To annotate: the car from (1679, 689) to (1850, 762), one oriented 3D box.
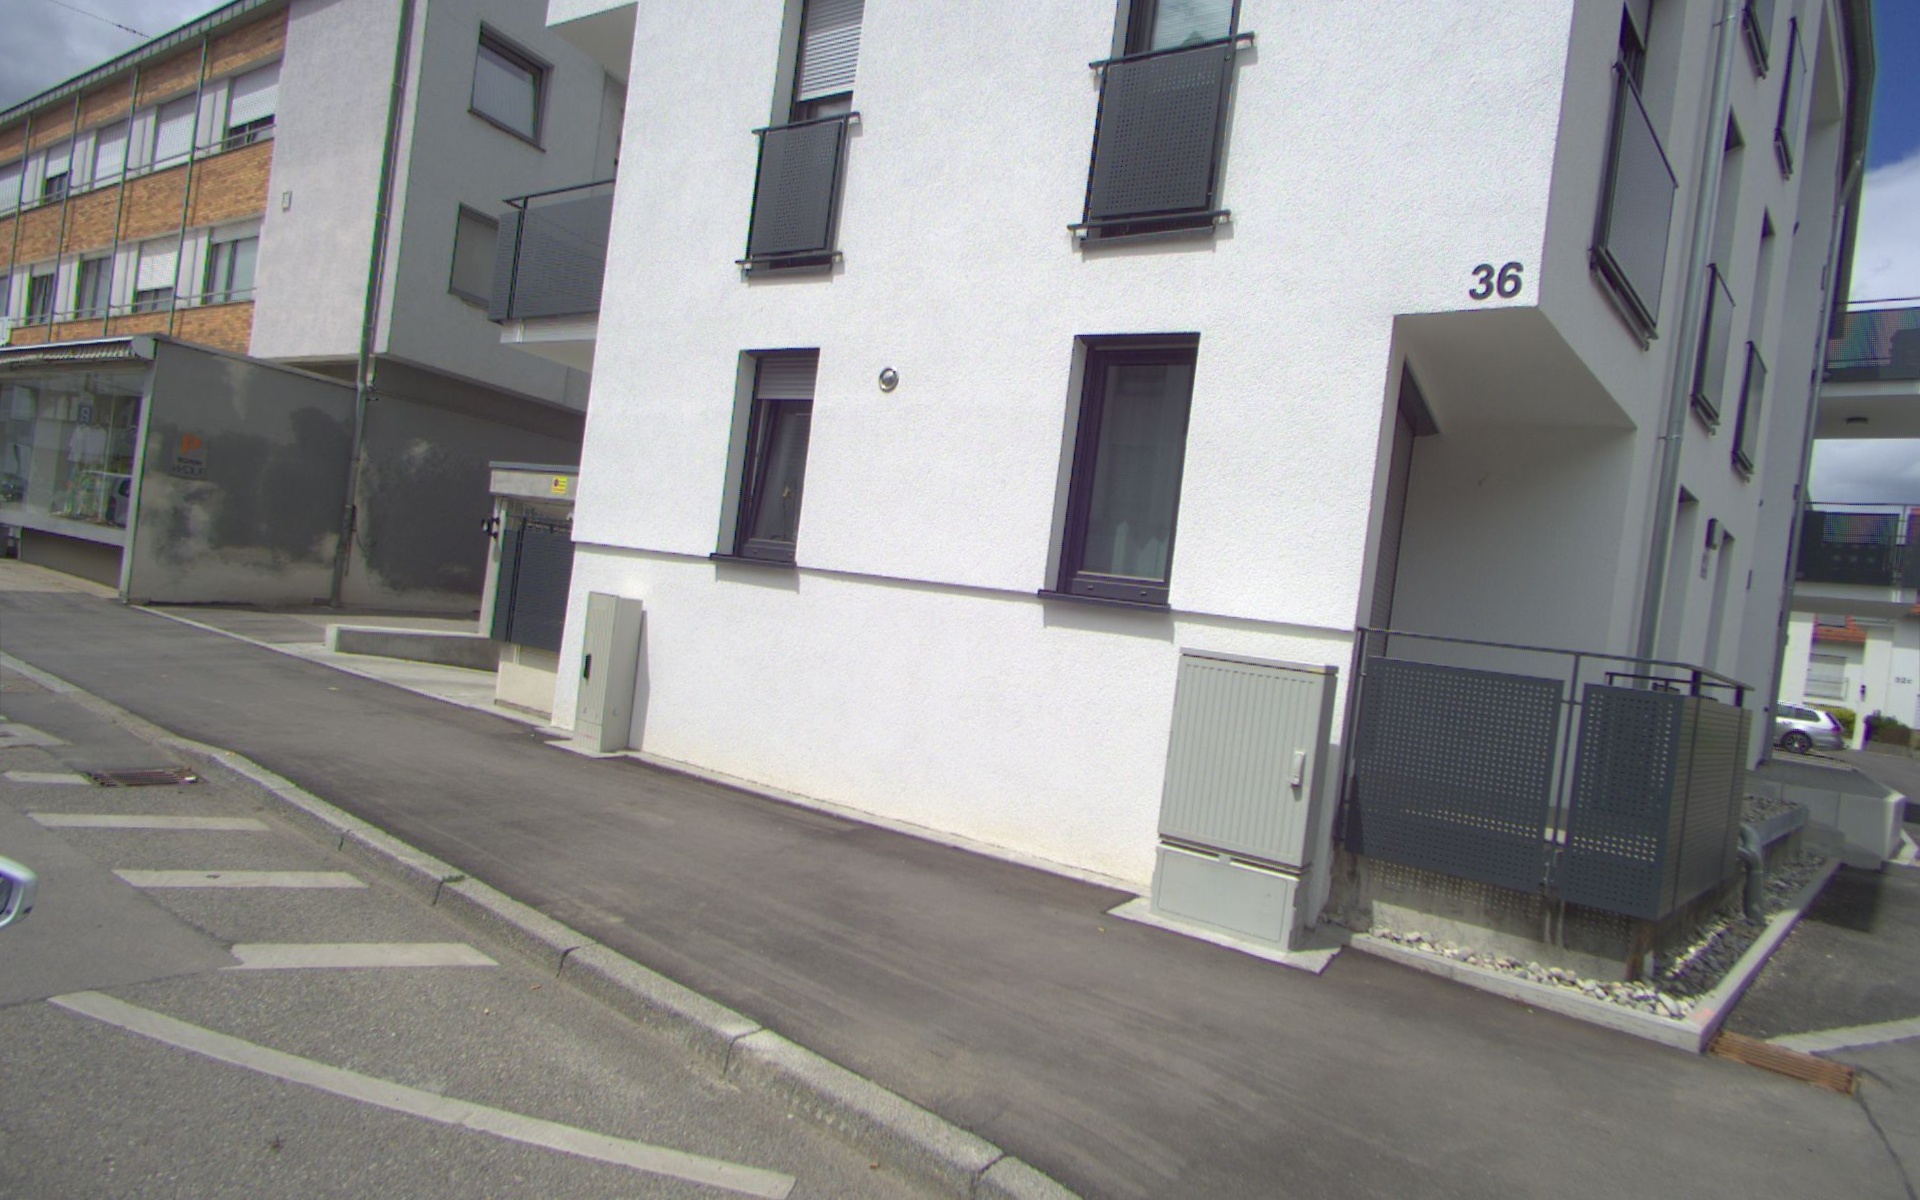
[{"bbox_3d":[24.713,3.823,30.989,3.880,1.523,1.690,8,0,42],"label":"car"}]
